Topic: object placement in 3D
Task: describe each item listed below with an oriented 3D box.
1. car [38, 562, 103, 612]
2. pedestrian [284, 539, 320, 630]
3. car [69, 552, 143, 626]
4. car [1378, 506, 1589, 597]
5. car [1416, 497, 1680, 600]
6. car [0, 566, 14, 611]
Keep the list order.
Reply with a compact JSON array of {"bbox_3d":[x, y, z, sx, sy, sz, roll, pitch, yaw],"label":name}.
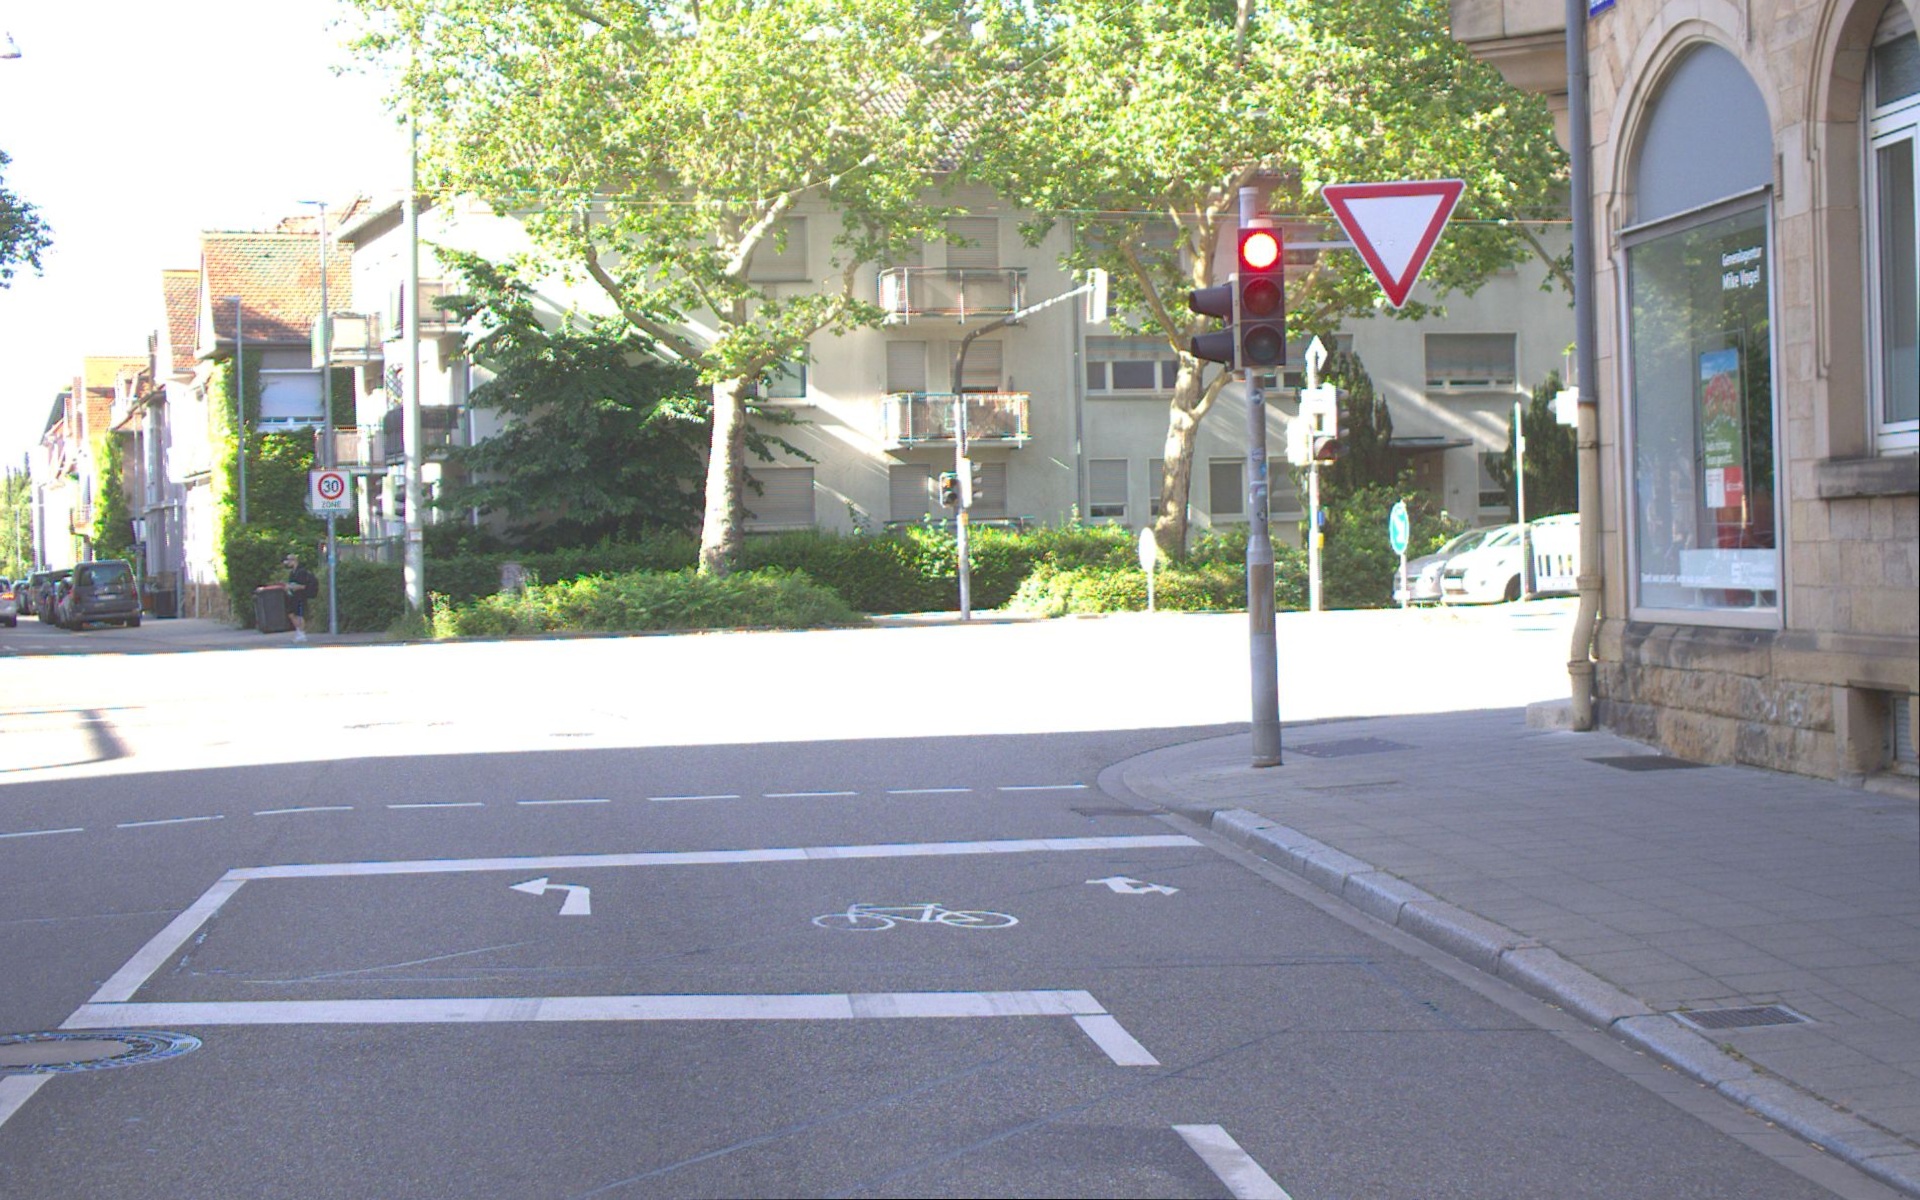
[{"bbox_3d":[-33.765,-0.494,130.398,1.993,1.826,4.001,-1,0,-20],"label":"car"},{"bbox_3d":[-12.714,-0.304,66.396,0.633,1.744,0.659,-1,0,-8],"label":"pedestrian"},{"bbox_3d":[-24.872,-0.342,100.194,1.993,2.006,4.001,-2,2,-14],"label":"car"},{"bbox_3d":[9.276,-0.865,60.910,3.379,1.482,1.525,-2,2,-26],"label":"car"},{"bbox_3d":[9.260,-0.822,54.146,3.786,1.467,1.630,-2,2,-24],"label":"car"},{"bbox_3d":[-32.027,-0.372,113.035,1.673,1.477,3.523,-1,0,-14],"label":"car"}]
